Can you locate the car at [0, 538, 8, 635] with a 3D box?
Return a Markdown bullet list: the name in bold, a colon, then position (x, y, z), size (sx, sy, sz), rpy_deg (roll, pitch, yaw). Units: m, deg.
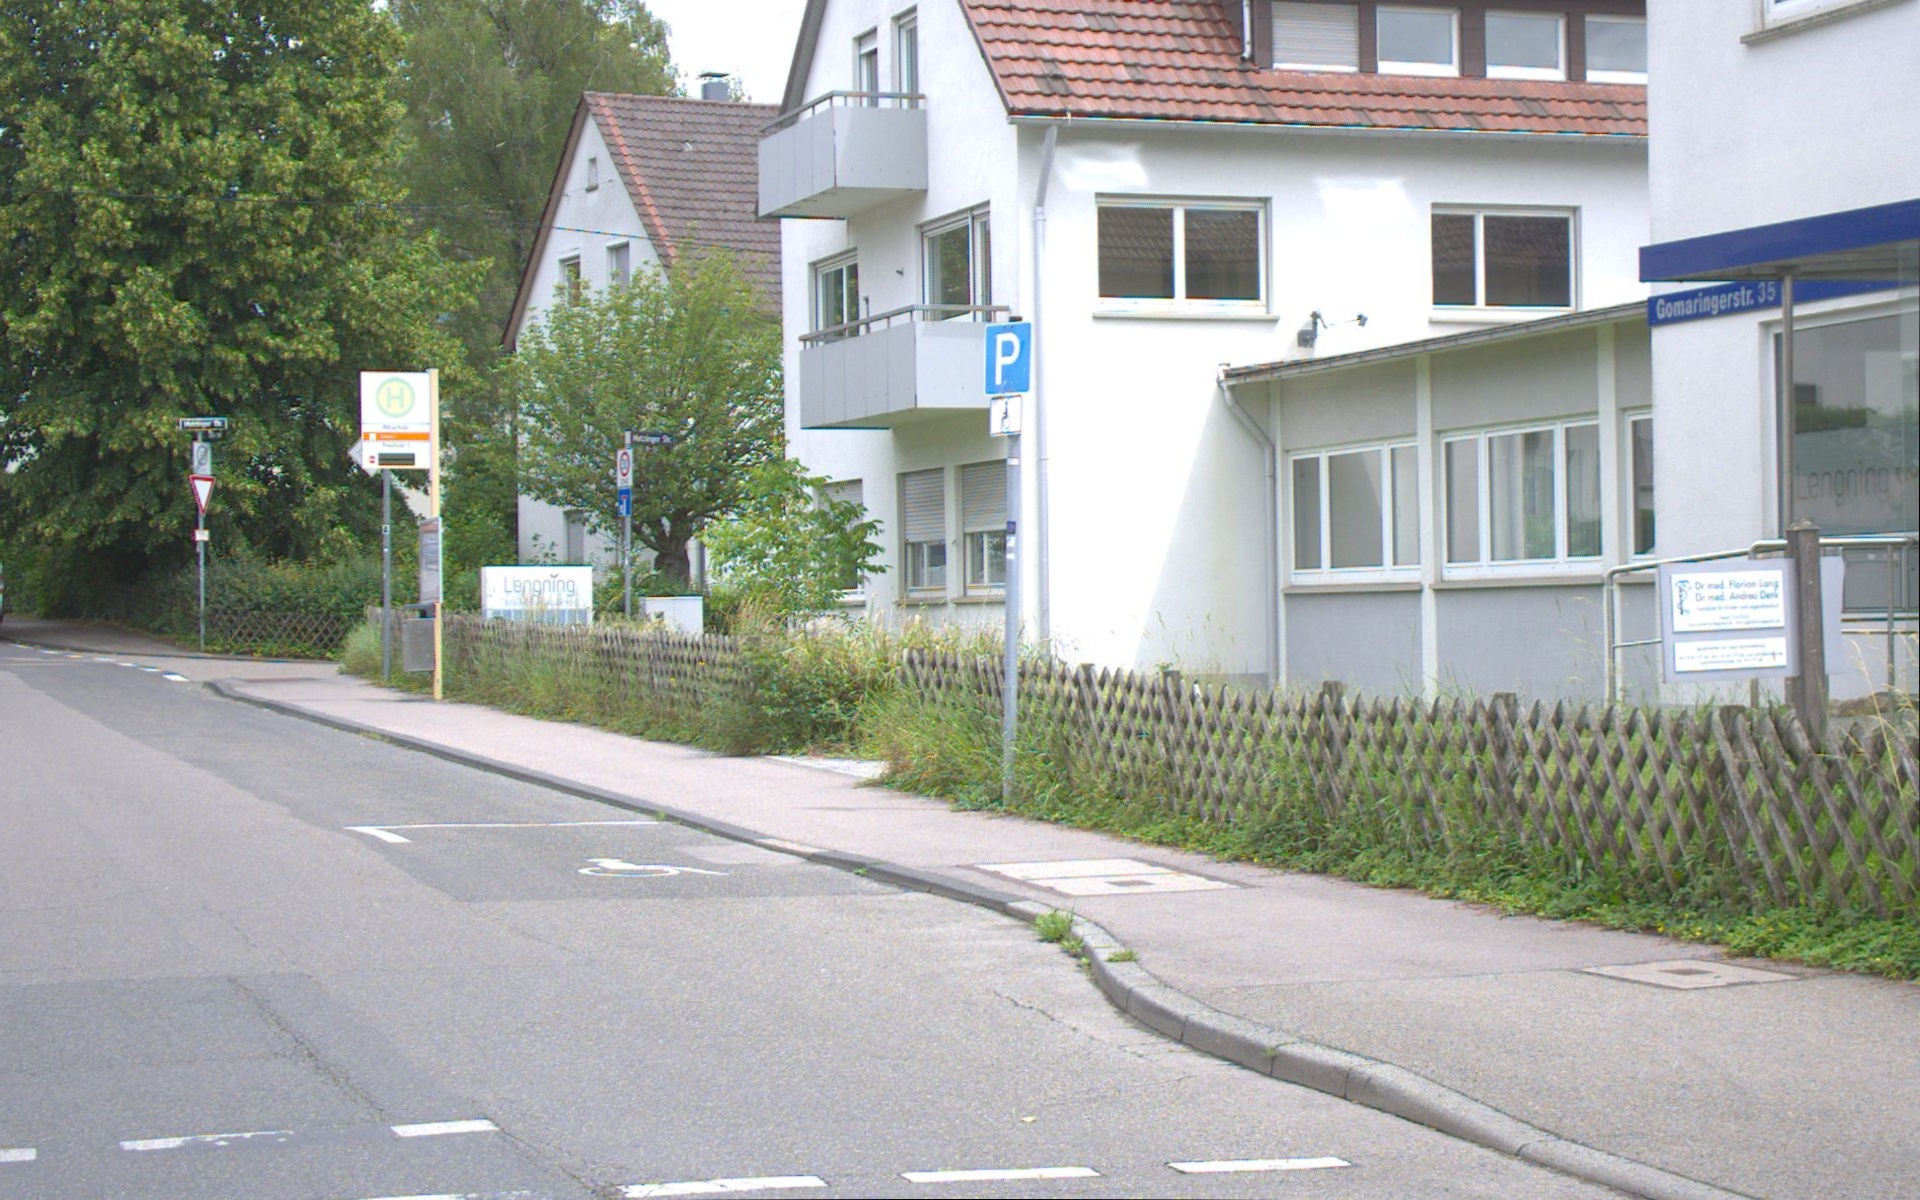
- **car**: position (-19.375, -0.338, 64.218), size (1.837, 1.768, 4.317), rpy_deg (2, 1, -32)
